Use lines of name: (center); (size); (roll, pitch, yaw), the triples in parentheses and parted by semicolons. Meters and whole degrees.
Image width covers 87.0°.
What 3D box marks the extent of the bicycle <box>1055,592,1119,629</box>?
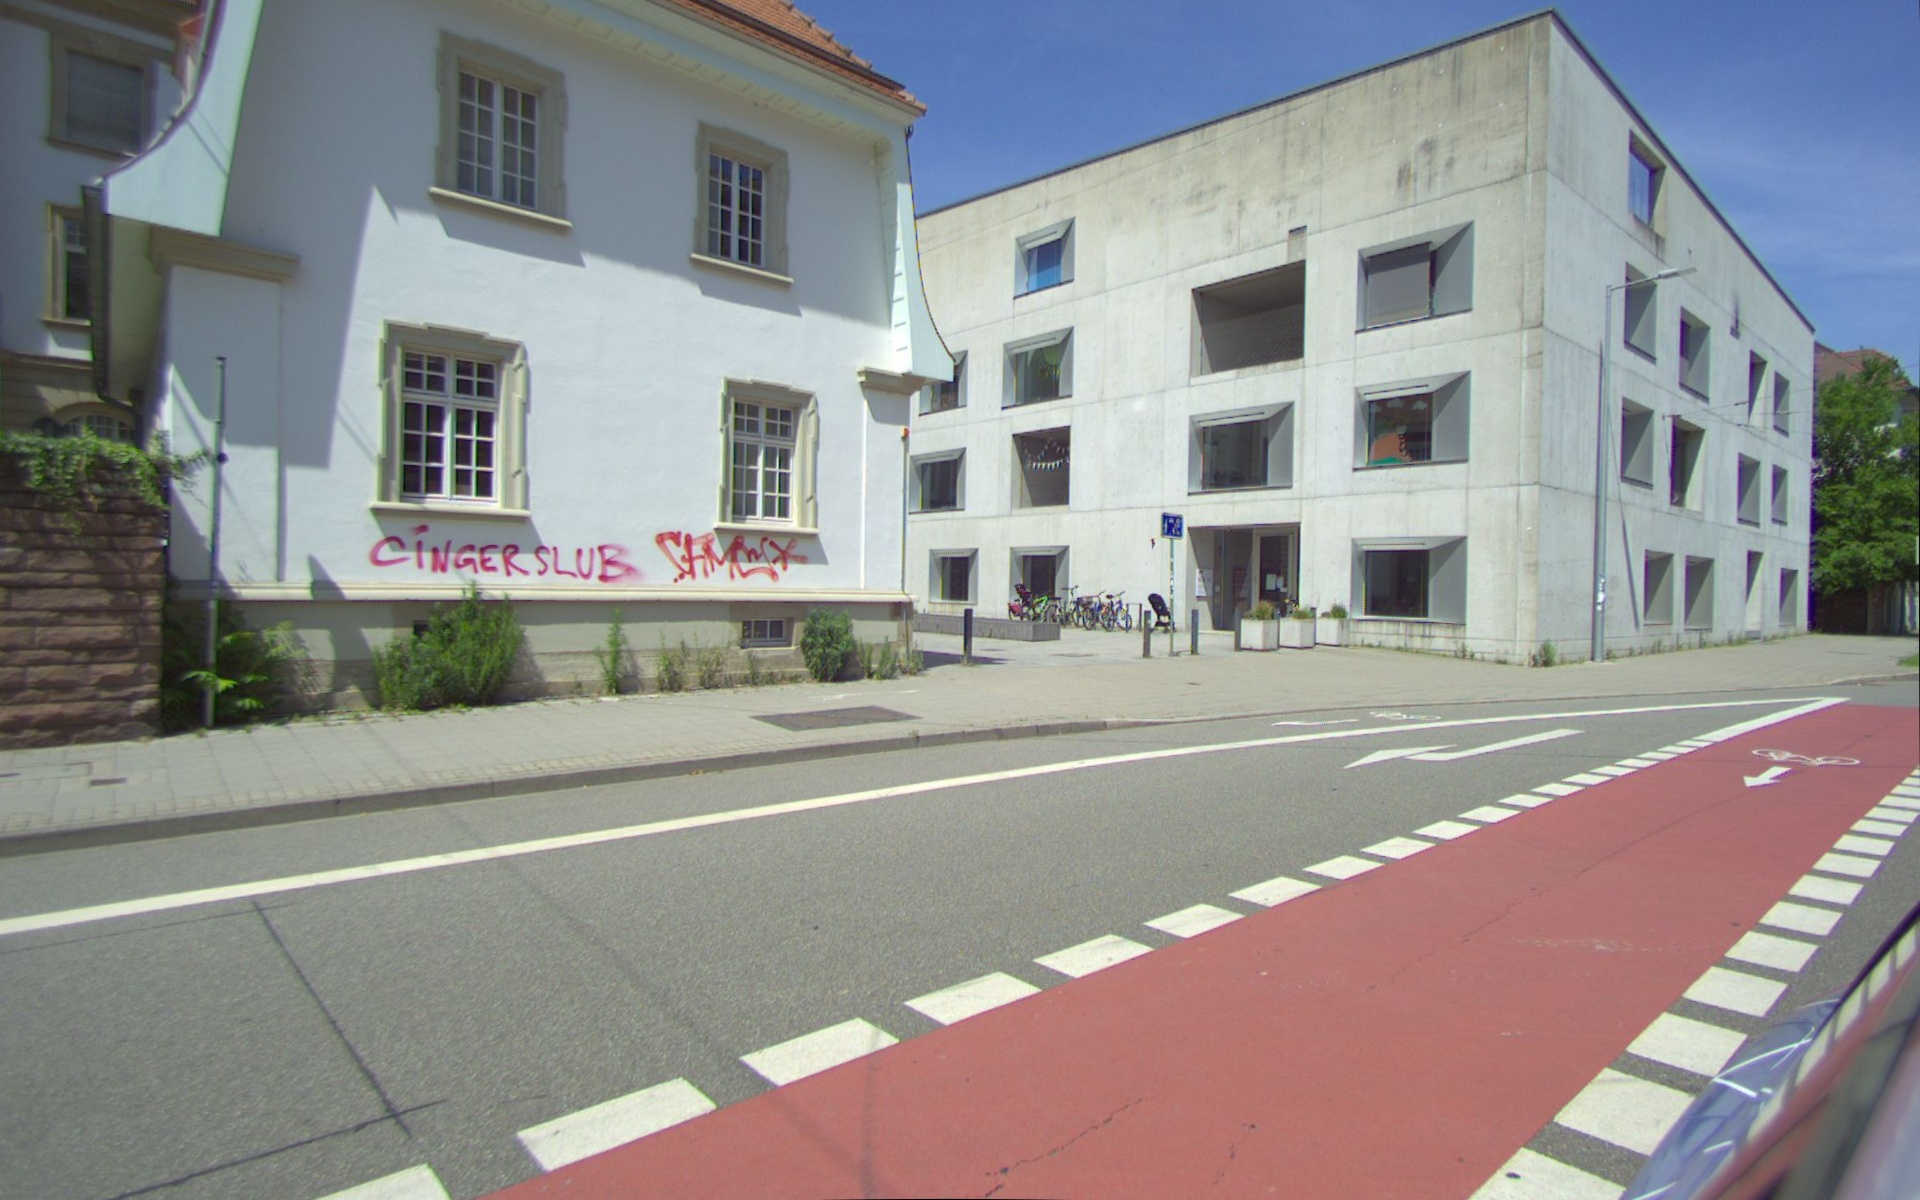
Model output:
bicycle: (3.640, 0.290, 28.798); (0.650, 0.997, 2.166); (2, 1, 43)

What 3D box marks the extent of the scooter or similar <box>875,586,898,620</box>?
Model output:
scooter or similar: (-2.394, 0.102, 32.884); (0.516, 1.098, 0.577); (0, 1, -36)

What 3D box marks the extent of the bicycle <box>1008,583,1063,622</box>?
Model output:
bicycle: (2.339, 0.075, 31.125); (0.650, 1.146, 1.859); (2, 1, 43)

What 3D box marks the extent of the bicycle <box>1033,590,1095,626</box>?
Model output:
bicycle: (3.085, 0.221, 29.787); (0.650, 0.997, 2.166); (2, 1, 43)

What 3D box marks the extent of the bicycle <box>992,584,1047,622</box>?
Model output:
bicycle: (1.863, 0.082, 31.683); (0.650, 1.129, 1.901); (2, 1, 43)

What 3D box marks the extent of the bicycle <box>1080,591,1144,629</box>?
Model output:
bicycle: (4.269, 0.268, 28.247); (0.650, 1.016, 2.166); (2, 1, 43)

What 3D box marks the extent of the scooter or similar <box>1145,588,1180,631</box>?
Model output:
scooter or similar: (5.557, 0.243, 27.772); (0.532, 1.154, 0.949); (2, 1, 43)
